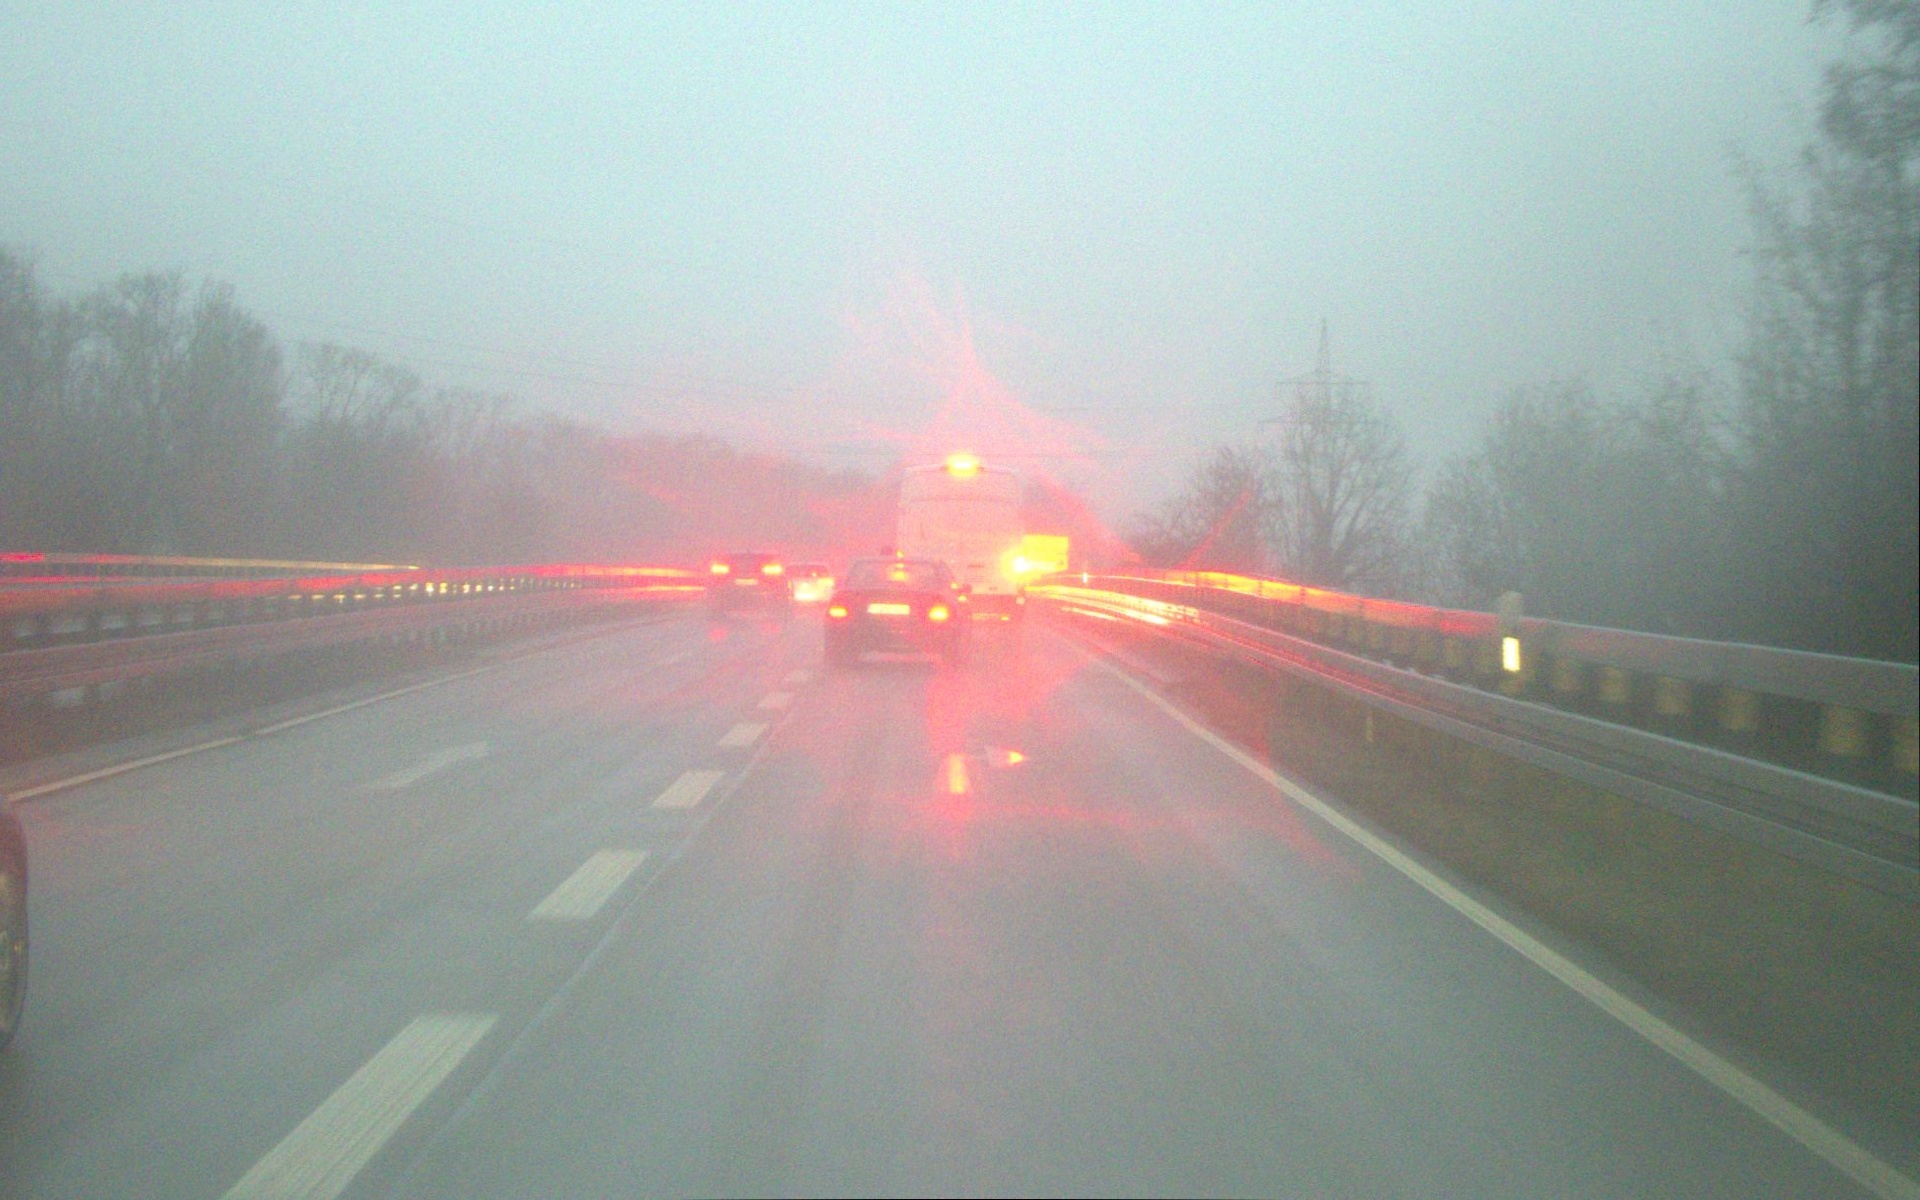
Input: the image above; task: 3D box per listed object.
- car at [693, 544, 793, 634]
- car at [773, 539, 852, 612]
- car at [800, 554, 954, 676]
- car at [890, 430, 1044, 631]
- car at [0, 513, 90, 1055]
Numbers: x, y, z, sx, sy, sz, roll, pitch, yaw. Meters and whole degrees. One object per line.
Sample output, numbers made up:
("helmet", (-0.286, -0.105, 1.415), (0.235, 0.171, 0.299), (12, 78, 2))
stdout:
("car", (-4.754, -0.250, 75.716), (1.993, 1.808, 4.000), (3, 0, -2))
("car", (-4.105, -0.706, 95.811), (1.993, 1.707, 4.001), (-5, 3, -2))
("car", (-1.016, 0.180, 44.211), (1.736, 1.410, 4.377), (3, 0, 1))
("car", (0.074, -1.010, 54.286), (2.282, 2.956, 6.390), (0, -1, -1))
("car", (-3.576, 0.489, 8.595), (1.730, 1.527, 4.042), (1, -1, 0))
